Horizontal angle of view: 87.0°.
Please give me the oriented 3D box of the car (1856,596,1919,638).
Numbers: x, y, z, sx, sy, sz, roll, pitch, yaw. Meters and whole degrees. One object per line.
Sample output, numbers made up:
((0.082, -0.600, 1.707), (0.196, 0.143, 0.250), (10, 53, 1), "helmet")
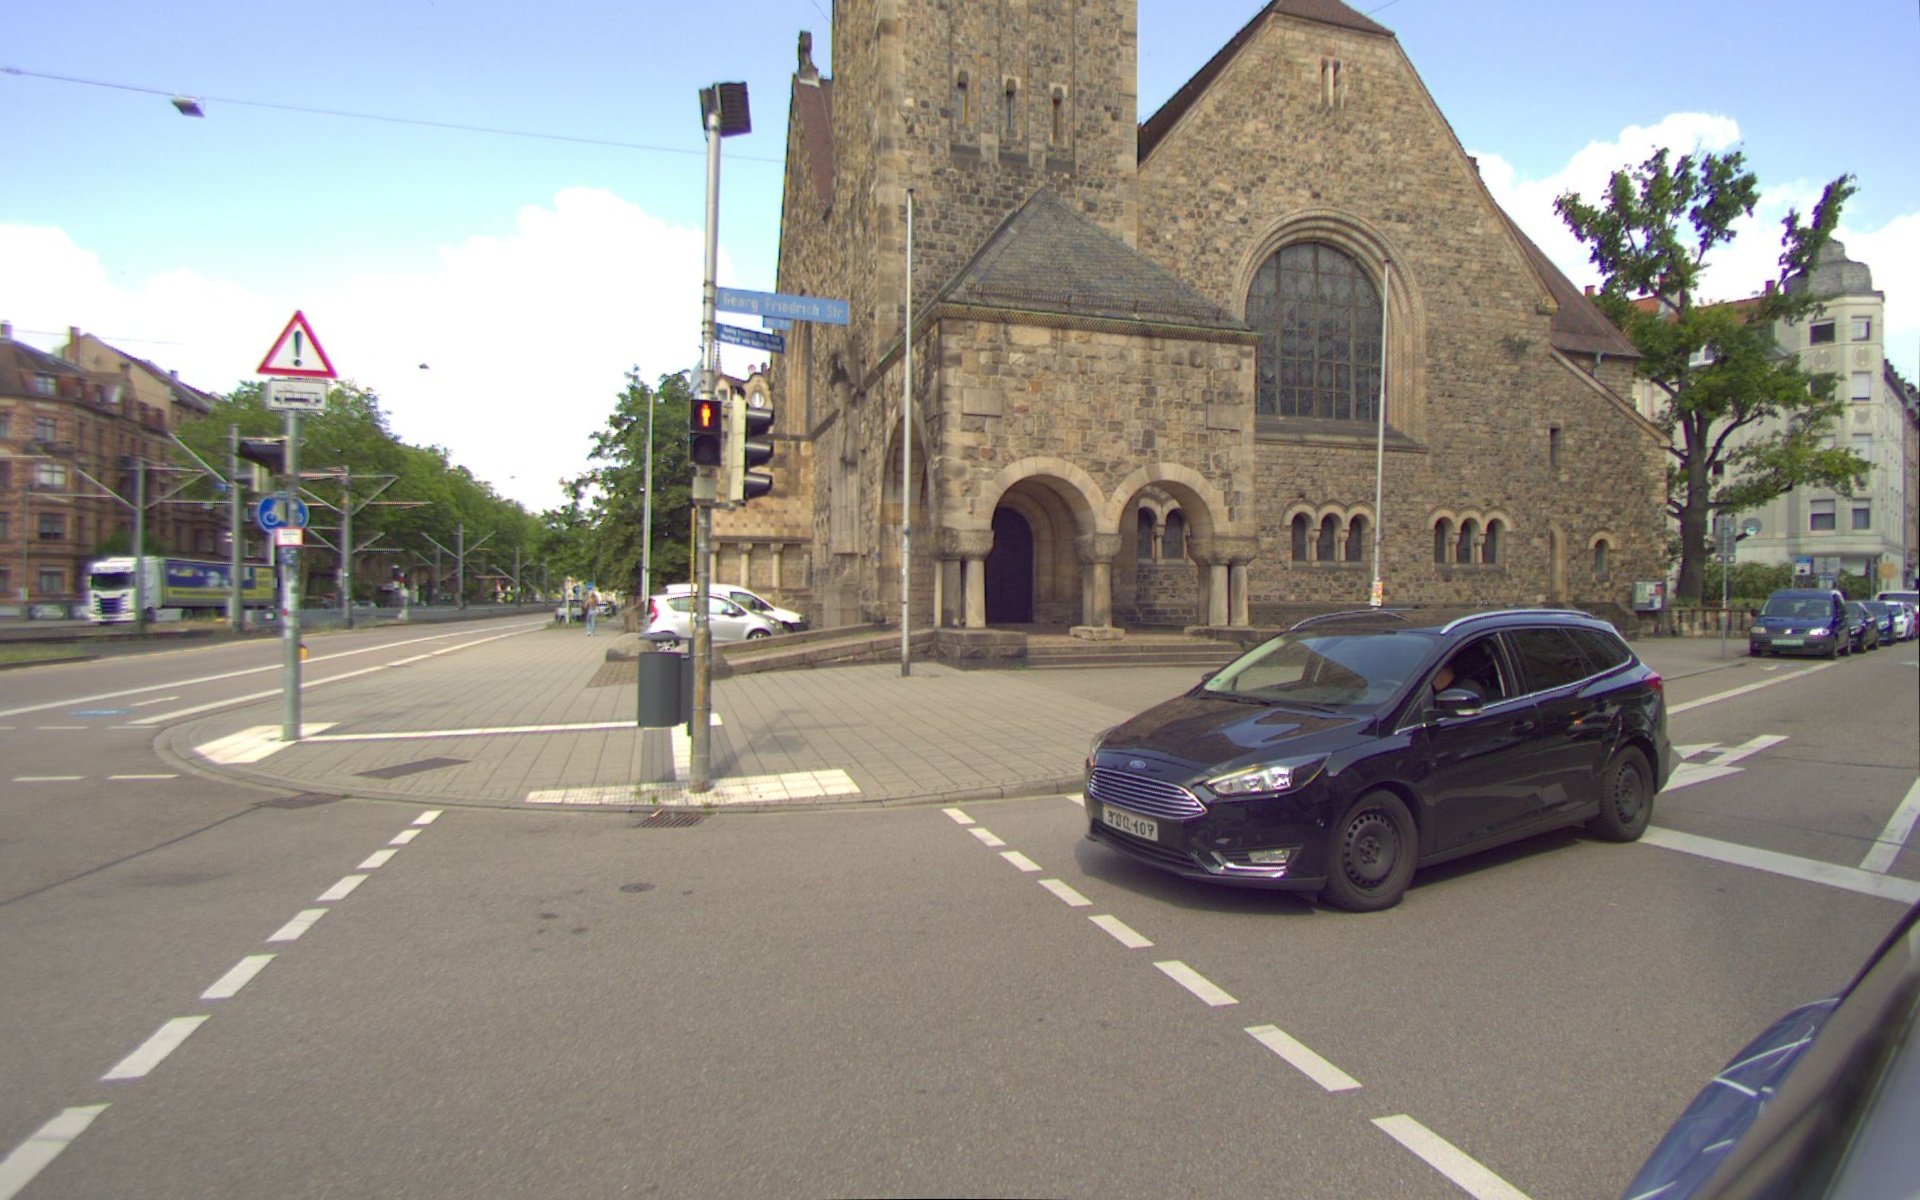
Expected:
((34.625, 0.598, 37.482), (3.731, 1.465, 1.681), (0, 0, -41), "car")

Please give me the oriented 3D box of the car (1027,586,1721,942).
((2.698, 0.736, 6.321), (4.299, 1.554, 1.786), (0, -1, -31), "car")

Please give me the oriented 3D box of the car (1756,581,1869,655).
((22.671, 0.440, 26.874), (4.072, 1.814, 1.681), (0, 0, -41), "car")

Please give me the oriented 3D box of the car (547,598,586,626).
((-22.378, 0.682, 57.646), (1.752, 1.514, 3.845), (-1, 0, -16), "car")

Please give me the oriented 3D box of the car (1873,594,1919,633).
((38.430, 0.539, 40.994), (3.822, 1.515, 1.681), (0, 0, -41), "car")

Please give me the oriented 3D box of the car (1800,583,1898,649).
((26.461, 0.446, 30.079), (3.930, 1.814, 1.681), (0, 0, -41), "car")

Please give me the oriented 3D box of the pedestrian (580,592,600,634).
((-14.935, 0.509, 40.853), (0.645, 1.686, 0.847), (0, 0, -14), "pedestrian")

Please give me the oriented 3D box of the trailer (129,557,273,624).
((-51.178, -0.644, 68.789), (2.857, 4.129, 11.671), (0, 0, -10), "trailer")

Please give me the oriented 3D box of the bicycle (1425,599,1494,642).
((14.690, 0.591, 29.829), (0.574, 1.125, 1.944), (0, 3, -20), "bicycle")

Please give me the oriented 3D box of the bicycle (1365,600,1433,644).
((12.583, 0.610, 29.054), (0.574, 1.125, 1.944), (0, 3, -20), "bicycle")

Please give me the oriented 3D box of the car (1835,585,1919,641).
((31.183, 0.411, 34.361), (3.930, 1.814, 1.681), (0, 0, -41), "car")

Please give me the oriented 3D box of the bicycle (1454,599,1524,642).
((15.659, 0.584, 30.009), (0.574, 1.125, 1.944), (0, 3, -20), "bicycle")

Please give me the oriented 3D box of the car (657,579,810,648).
((-6.672, 0.435, 29.692), (4.214, 1.878, 2.004), (1, -2, -17), "car")

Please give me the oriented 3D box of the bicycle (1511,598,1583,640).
((17.832, 0.565, 30.795), (0.574, 1.125, 1.944), (0, 3, -20), "bicycle")

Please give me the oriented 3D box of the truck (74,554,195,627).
((-49.878, -0.580, 61.401), (2.857, 4.201, 6.602), (0, 0, -10), "truck")

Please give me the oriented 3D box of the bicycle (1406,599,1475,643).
((14.026, 0.597, 29.603), (0.574, 1.125, 1.944), (0, 3, -20), "bicycle")

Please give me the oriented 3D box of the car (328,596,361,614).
((-60.008, 0.453, 98.755), (1.765, 1.651, 4.008), (0, 0, -16), "car")

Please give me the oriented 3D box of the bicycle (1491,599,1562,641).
((17.077, 0.571, 30.571), (0.574, 1.125, 1.944), (0, 3, -20), "bicycle")

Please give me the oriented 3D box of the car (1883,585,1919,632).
((41.680, 0.355, 43.976), (4.113, 1.963, 1.843), (0, 0, -41), "car")

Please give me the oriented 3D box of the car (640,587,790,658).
((-6.349, 0.608, 26.157), (3.560, 1.700, 1.822), (2, -2, -20), "car")
